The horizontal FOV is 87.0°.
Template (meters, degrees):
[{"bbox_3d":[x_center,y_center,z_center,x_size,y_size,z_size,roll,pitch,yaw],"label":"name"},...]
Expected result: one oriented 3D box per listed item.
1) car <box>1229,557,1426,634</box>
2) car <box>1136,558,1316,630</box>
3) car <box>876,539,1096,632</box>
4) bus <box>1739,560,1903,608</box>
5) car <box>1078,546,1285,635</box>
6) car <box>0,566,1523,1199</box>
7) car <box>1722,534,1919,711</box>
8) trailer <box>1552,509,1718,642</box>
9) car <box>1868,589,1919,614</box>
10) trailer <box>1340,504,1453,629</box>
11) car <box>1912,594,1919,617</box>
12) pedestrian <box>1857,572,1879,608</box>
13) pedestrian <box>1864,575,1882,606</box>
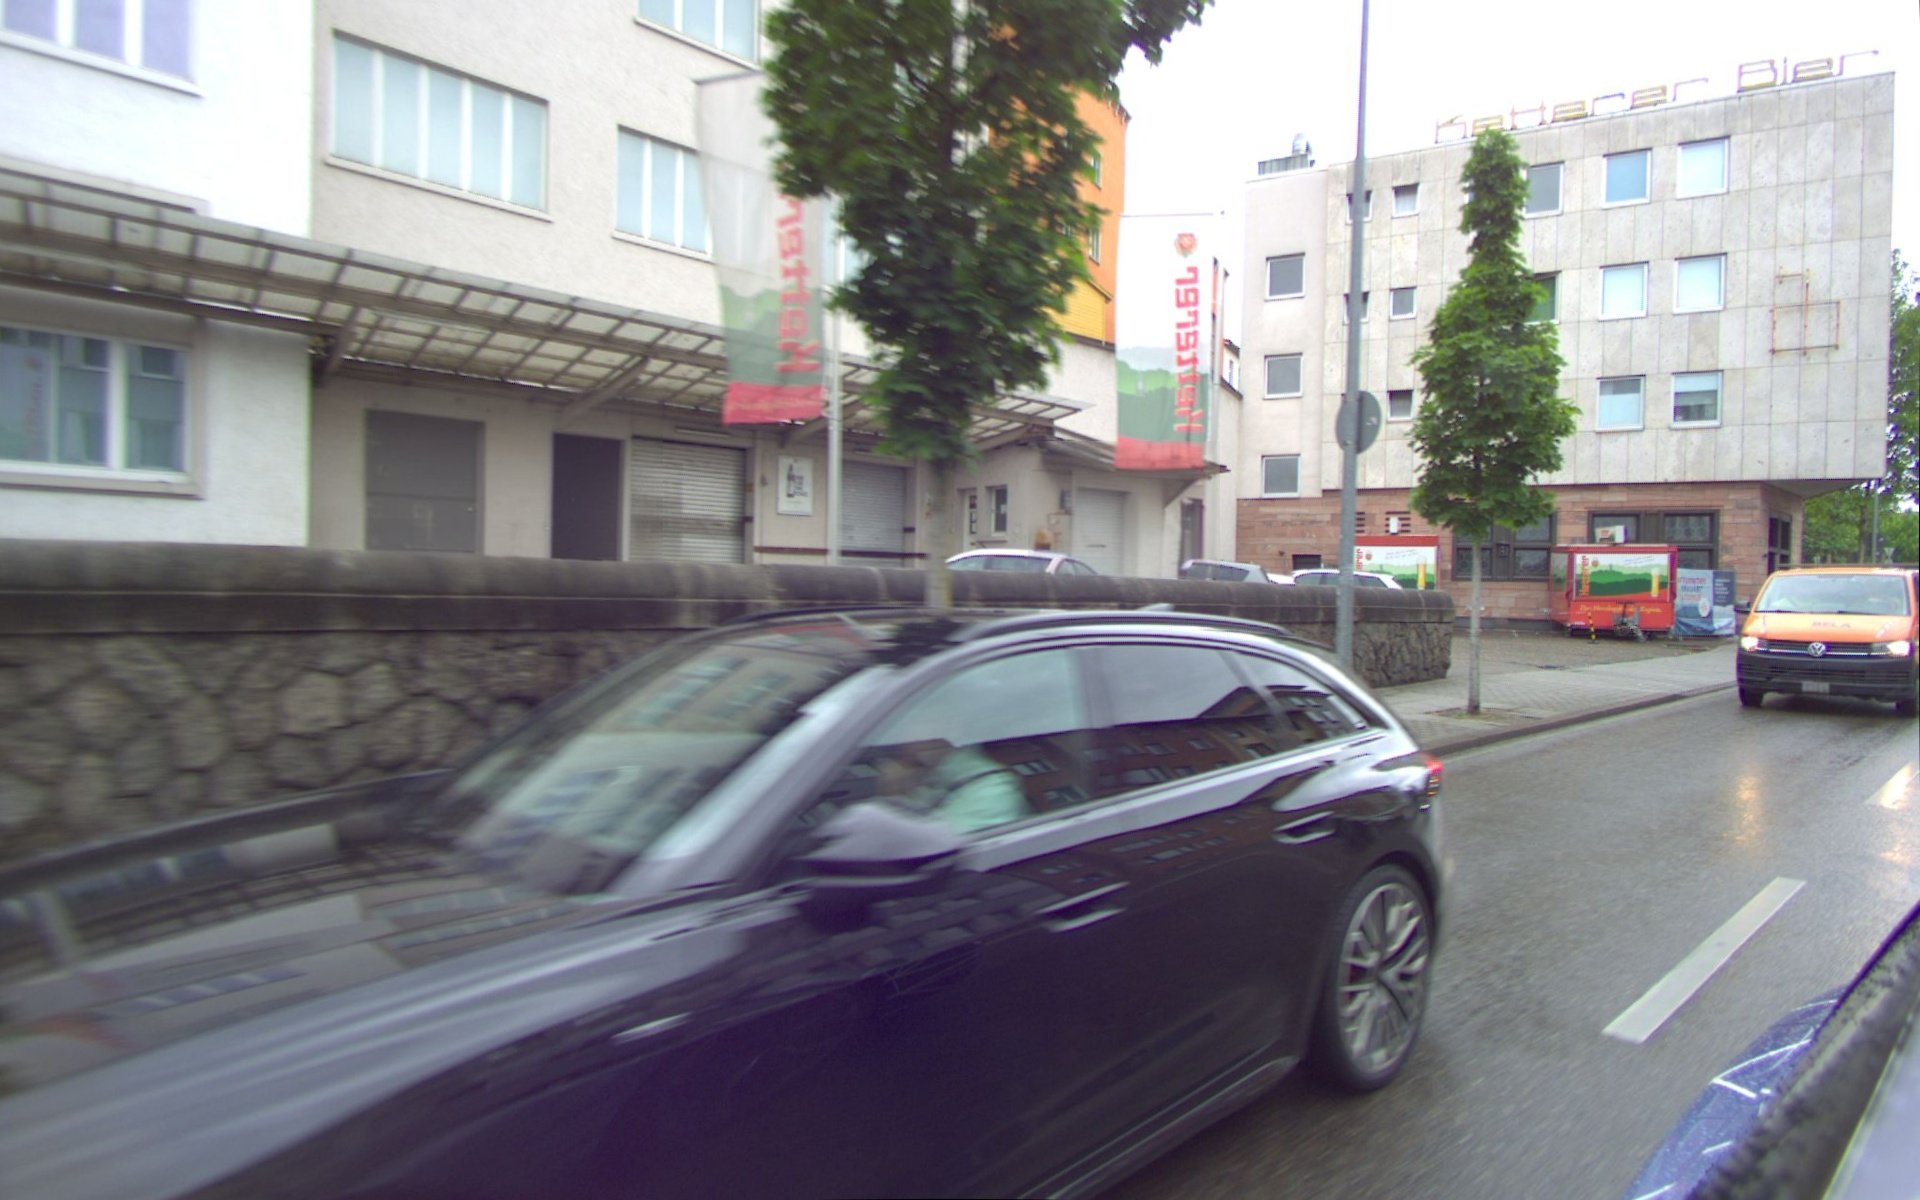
[{"bbox_3d":[9.005,-0.136,25.135,4.205,1.669,1.863,2,1,9],"label":"car"},{"bbox_3d":[5.974,-0.151,23.124,3.780,1.418,1.639,3,1,11],"label":"car"},{"bbox_3d":[0.559,-0.267,18.936,3.915,1.588,1.922,1,0,9],"label":"car"},{"bbox_3d":[66.032,-1.325,78.029,2.648,3.256,9.683,2,2,-14],"label":"bus"},{"bbox_3d":[4.516,-0.225,20.797,3.941,1.602,1.764,3,1,14],"label":"car"},{"bbox_3d":[-0.298,0.650,2.802,4.553,1.420,1.793,-1,2,-41],"label":"car"},{"bbox_3d":[12.937,0.246,14.612,5.446,2.115,2.105,0,1,-42],"label":"car"},{"bbox_3d":[18.196,-0.734,27.675,2.607,3.215,5.674,2,2,23],"label":"trailer"},{"bbox_3d":[58.882,0.078,62.703,1.764,1.390,4.092,2,2,6],"label":"car"},{"bbox_3d":[13.216,-0.980,30.395,2.724,3.348,6.016,1,1,27],"label":"trailer"},{"bbox_3d":[100.846,0.670,104.146,4.906,2.348,1.978,2,1,-17],"label":"car"},{"bbox_3d":[49.554,-0.545,55.227,0.683,1.852,0.742,1,4,-45],"label":"pedestrian"},{"bbox_3d":[52.501,-0.567,58.192,0.552,1.726,0.524,4,2,24],"label":"pedestrian"}]
